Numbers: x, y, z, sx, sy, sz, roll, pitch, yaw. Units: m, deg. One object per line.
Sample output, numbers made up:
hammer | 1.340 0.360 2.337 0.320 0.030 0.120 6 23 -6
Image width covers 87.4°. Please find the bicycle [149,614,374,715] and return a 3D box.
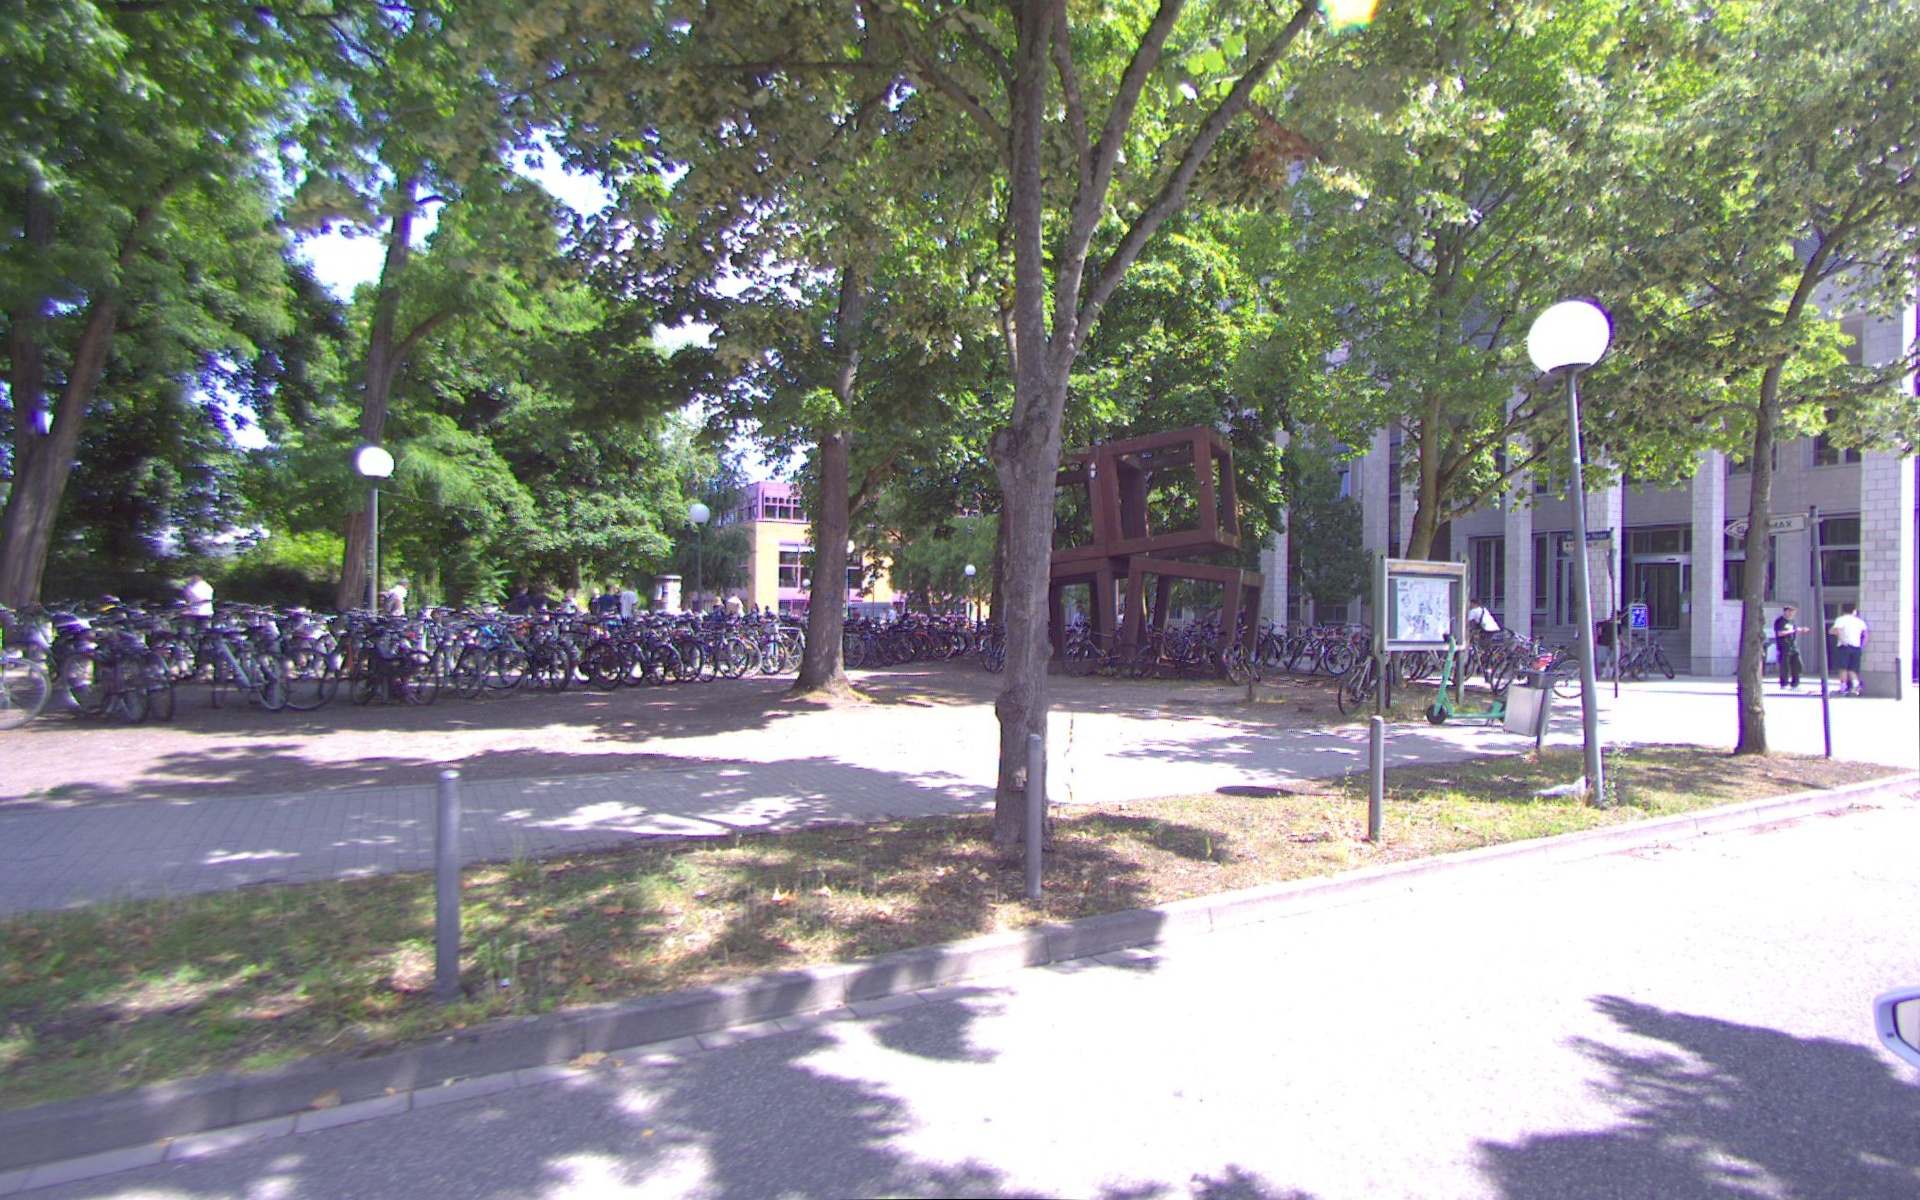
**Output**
bicycle | -7.993 0.703 11.482 2.598 1.022 0.678 1 0 18

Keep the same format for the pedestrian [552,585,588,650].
pedestrian | -10.383 0.453 26.729 0.545 1.693 0.693 1 0 25

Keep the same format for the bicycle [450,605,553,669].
bicycle | -8.740 0.690 19.141 2.022 1.147 0.639 1 1 26

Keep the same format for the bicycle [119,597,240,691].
bicycle | -11.037 0.594 14.181 2.022 1.147 0.478 4 2 26

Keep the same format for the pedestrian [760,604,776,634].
pedestrian | -10.535 1.023 55.061 0.751 1.617 0.392 1 0 -31

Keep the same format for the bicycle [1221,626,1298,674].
bicycle | 7.192 1.181 24.085 1.950 1.101 0.549 1 1 -30

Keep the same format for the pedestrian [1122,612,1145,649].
pedestrian | 7.603 1.331 44.038 0.776 1.625 0.597 1 0 -28

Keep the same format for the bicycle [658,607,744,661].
bicycle | -6.284 0.806 24.315 2.022 1.147 0.674 4 2 26

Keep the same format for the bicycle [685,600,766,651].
bicycle | -5.964 0.635 25.530 2.022 1.147 0.639 4 2 26

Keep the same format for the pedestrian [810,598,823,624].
pedestrian | -8.997 0.708 62.884 0.595 1.627 0.627 1 0 -30

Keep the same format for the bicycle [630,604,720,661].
bicycle | -6.533 0.725 23.000 2.022 1.147 0.639 4 2 26

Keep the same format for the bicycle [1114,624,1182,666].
bicycle | 5.212 1.236 27.851 1.950 1.101 0.549 1 1 -30

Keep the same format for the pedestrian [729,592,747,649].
pedestrian | -8.139 0.745 36.770 0.583 2.040 0.532 1 0 -15

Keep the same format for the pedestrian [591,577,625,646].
pedestrian | -10.174 0.318 29.054 0.610 1.960 0.681 1 0 25

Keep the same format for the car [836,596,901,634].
car | -7.068 1.152 77.662 4.582 2.813 1.980 1 0 -35

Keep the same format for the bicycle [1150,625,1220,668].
bicycle | 6.006 1.228 26.747 1.950 1.101 0.549 1 1 -30

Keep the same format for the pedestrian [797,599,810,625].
pedestrian | -9.804 0.738 62.832 0.595 1.627 0.627 1 0 -30

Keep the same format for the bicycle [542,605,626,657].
bicycle | -8.954 0.724 23.894 2.022 1.147 0.639 1 1 26

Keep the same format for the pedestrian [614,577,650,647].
pedestrian | -9.370 0.347 28.689 0.636 1.960 0.696 1 0 25

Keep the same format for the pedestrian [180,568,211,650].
pedestrian | -15.519 0.186 20.399 0.457 1.636 0.347 1 0 -34

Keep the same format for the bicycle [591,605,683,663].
bicycle | -7.107 0.724 22.074 2.022 1.148 0.639 3 2 26

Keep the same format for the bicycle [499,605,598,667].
bicycle | -8.232 0.697 20.074 2.022 1.147 0.639 2 1 26

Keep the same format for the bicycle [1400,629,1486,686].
bicycle | 9.834 1.154 20.418 1.950 1.101 0.549 1 1 -30

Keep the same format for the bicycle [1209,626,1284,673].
bicycle | 7.046 1.195 24.667 1.950 1.101 0.549 1 1 -30

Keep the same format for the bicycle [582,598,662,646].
bicycle | -8.518 0.543 25.327 2.022 1.147 0.639 1 0 26

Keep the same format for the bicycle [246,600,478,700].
bicycle | -7.353 0.572 12.351 2.697 1.101 0.883 1 0 18

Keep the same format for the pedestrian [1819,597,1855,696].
pedestrian | 17.848 0.927 20.451 0.406 1.968 0.661 1 1 31

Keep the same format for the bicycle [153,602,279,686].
bicycle | -11.084 0.621 14.956 2.022 1.147 0.639 1 1 26

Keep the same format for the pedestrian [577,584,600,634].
pedestrian | -11.548 0.273 31.223 0.402 1.547 0.486 1 0 30

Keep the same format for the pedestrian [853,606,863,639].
pedestrian | -6.263 1.377 61.610 0.457 2.040 0.611 1 1 3

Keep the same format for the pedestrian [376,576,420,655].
pedestrian | -12.350 0.331 22.073 0.567 1.693 0.630 1 0 25

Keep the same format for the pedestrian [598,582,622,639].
pedestrian | -10.780 0.315 30.956 0.405 1.736 0.544 1 0 30

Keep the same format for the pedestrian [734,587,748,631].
pedestrian | -10.325 0.424 47.326 0.566 2.040 0.532 1 0 -15

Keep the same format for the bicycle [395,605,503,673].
bicycle | -9.223 0.685 18.123 2.022 1.147 0.639 1 1 26

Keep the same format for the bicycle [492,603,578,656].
bicycle | -9.772 0.666 23.087 2.022 1.147 0.639 1 1 26

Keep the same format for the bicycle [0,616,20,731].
bicycle | -9.537 0.656 9.337 1.858 1.022 0.676 1 0 31

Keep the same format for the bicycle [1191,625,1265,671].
bicycle | 6.728 1.201 25.187 1.950 1.101 0.549 1 1 -30

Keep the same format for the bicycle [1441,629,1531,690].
bicycle | 10.118 1.126 19.300 1.950 1.101 0.549 1 1 -30

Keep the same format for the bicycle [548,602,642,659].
bicycle | -7.718 0.625 21.204 2.022 1.147 0.639 1 1 26

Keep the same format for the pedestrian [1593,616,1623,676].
pedestrian | 15.658 1.107 24.260 0.440 1.402 0.462 -3 1 -39

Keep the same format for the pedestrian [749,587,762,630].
pedestrian | -9.586 0.396 47.064 0.511 2.040 0.532 1 0 -15

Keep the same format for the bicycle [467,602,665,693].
bicycle | -5.919 0.672 15.089 2.850 1.237 0.883 1 0 18

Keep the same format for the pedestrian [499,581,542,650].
pedestrian | -10.986 0.382 25.124 0.620 1.693 0.729 1 0 25

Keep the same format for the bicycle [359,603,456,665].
bicycle | -11.073 0.657 20.121 2.022 1.147 0.639 1 1 26

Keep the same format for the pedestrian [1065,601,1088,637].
pedestrian | 5.086 0.816 43.835 0.714 1.561 0.696 1 0 -41

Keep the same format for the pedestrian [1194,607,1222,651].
pedestrian | 9.270 1.066 37.523 0.590 1.614 0.824 1 0 -28

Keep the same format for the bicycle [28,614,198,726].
bicycle | -8.811 0.681 10.428 2.115 1.022 0.676 1 0 30

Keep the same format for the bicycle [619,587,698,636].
bicycle | -7.875 0.293 26.204 2.022 1.147 0.639 4 2 26

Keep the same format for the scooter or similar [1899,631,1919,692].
scooter or similar | 20.471 1.286 21.187 1.528 1.240 0.453 1 0 -27

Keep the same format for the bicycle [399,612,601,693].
bicycle | -6.514 0.711 14.219 2.728 1.028 0.883 1 0 18

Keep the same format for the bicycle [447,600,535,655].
bicycle | -10.394 0.587 22.241 2.022 1.147 0.639 1 1 26

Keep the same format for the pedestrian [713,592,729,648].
pedestrian | -8.741 0.724 36.720 0.511 2.040 0.532 1 0 -15

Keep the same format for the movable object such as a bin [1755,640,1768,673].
movable object such as a bin | 22.315 1.563 27.976 0.444 0.907 0.167 1 0 -36

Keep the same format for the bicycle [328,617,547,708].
bicycle | -6.926 0.789 13.305 2.777 1.064 0.883 1 0 18

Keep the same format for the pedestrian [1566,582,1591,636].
pedestrian | 19.779 0.283 32.129 0.624 1.683 0.693 1 0 30

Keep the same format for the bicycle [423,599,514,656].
bicycle | -10.488 0.565 21.416 2.022 1.147 0.639 1 1 26

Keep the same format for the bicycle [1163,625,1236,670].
bicycle | 6.197 1.208 25.954 1.950 1.101 0.549 1 1 -30

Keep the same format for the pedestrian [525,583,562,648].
pedestrian | -11.097 0.407 26.791 0.545 1.693 0.703 1 0 25

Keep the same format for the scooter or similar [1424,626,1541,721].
scooter or similar | 6.803 0.949 13.104 1.301 1.191 0.340 1 0 5

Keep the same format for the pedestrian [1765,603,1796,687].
pedestrian | 17.819 0.961 21.826 0.434 1.799 0.450 1 0 30
